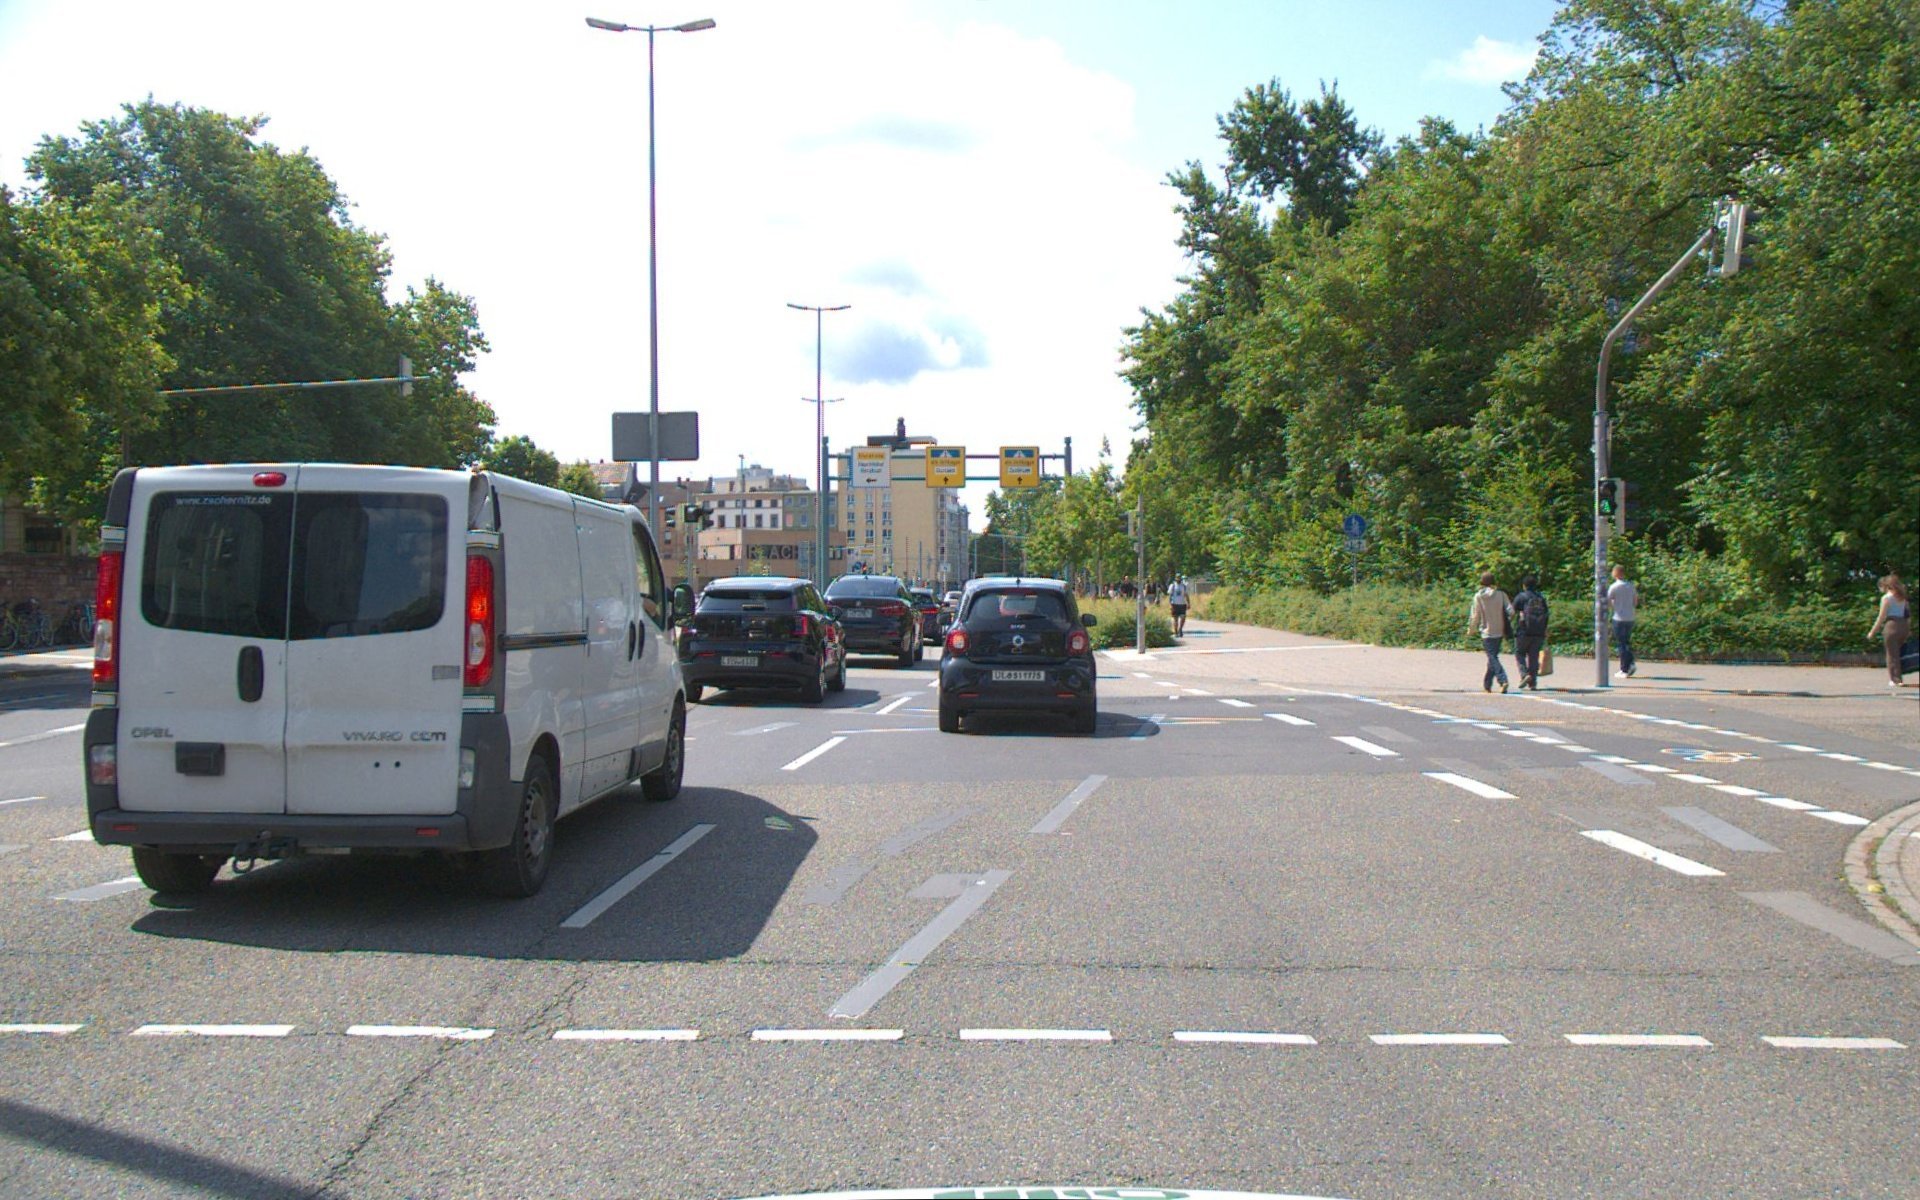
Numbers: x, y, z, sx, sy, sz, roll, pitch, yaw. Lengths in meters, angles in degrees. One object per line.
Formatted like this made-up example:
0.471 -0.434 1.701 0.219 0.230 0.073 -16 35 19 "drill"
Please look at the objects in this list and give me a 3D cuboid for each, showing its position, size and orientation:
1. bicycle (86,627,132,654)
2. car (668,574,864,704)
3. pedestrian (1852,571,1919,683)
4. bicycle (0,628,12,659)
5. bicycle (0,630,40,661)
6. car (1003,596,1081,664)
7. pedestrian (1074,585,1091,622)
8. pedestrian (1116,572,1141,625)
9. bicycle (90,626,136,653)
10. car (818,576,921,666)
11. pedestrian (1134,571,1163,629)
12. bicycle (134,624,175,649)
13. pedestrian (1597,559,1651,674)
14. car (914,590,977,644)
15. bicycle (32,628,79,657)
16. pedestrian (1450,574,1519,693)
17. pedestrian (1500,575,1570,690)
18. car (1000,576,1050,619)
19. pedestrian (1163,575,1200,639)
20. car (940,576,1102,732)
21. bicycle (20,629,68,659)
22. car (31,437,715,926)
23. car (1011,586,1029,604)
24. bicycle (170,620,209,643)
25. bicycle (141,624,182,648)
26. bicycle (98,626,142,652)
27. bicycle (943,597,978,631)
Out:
-22.465 1.067 43.674 0.999 0.694 0.402 2 -1 -42 "bicycle"
-2.479 0.448 22.318 1.975 1.557 4.888 0 0 1 "car"
14.474 0.391 25.448 0.842 1.654 1.014 -2 2 -21 "pedestrian"
-21.509 0.954 36.476 0.993 0.694 0.405 2 -1 -29 "bicycle"
-21.976 1.058 38.471 0.993 0.694 0.405 2 -1 -29 "bicycle"
1.854 0.682 38.230 1.578 1.436 3.516 2 -1 -1 "car"
6.775 0.203 91.240 0.821 2.003 0.860 0 0 -3 "pedestrian"
6.504 -0.055 63.926 0.821 2.003 0.860 0 0 -3 "pedestrian"
-22.696 1.064 44.322 0.999 0.694 0.402 2 -1 -42 "bicycle"
-1.714 0.373 32.506 1.790 1.629 4.393 1 0 -1 "car"
6.231 0.013 54.747 0.821 1.901 1.019 0 0 -2 "pedestrian"
-23.308 1.063 47.870 0.999 0.694 0.402 2 -1 -42 "bicycle"
10.937 0.262 27.267 0.656 1.852 0.704 0 1 7 "pedestrian"
-0.382 0.425 43.326 1.578 1.348 3.517 0 0 -1 "car"
-22.429 1.057 41.010 0.993 0.694 0.405 2 -1 -29 "bicycle"
7.836 0.481 24.748 0.778 1.734 1.183 0 1 7 "pedestrian"
8.853 0.478 25.504 0.778 1.734 1.183 0 1 7 "pedestrian"
2.309 -0.099 59.558 1.578 1.436 3.517 2 0 -1 "car"
6.130 0.196 45.785 0.834 1.730 0.931 -2 0 -1 "pedestrian"
0.583 0.530 17.976 1.578 1.511 3.516 0 0 -1 "car"
-22.064 1.061 39.863 0.993 0.694 0.405 2 -1 -29 "bicycle"
-2.817 0.329 9.446 1.965 1.989 5.194 1 0 1 "car"
6.734 -0.543 184.514 1.903 1.998 3.951 1 0 3 "car"
-23.988 0.991 51.497 0.999 0.694 0.402 2 -1 -42 "bicycle"
-23.406 1.063 48.485 0.999 0.694 0.402 2 -1 -42 "bicycle"
-22.892 1.062 45.065 0.999 0.694 0.402 2 -1 -42 "bicycle"
0.006 0.843 103.255 1.954 2.049 3.998 1 0 -3 "bicycle"
